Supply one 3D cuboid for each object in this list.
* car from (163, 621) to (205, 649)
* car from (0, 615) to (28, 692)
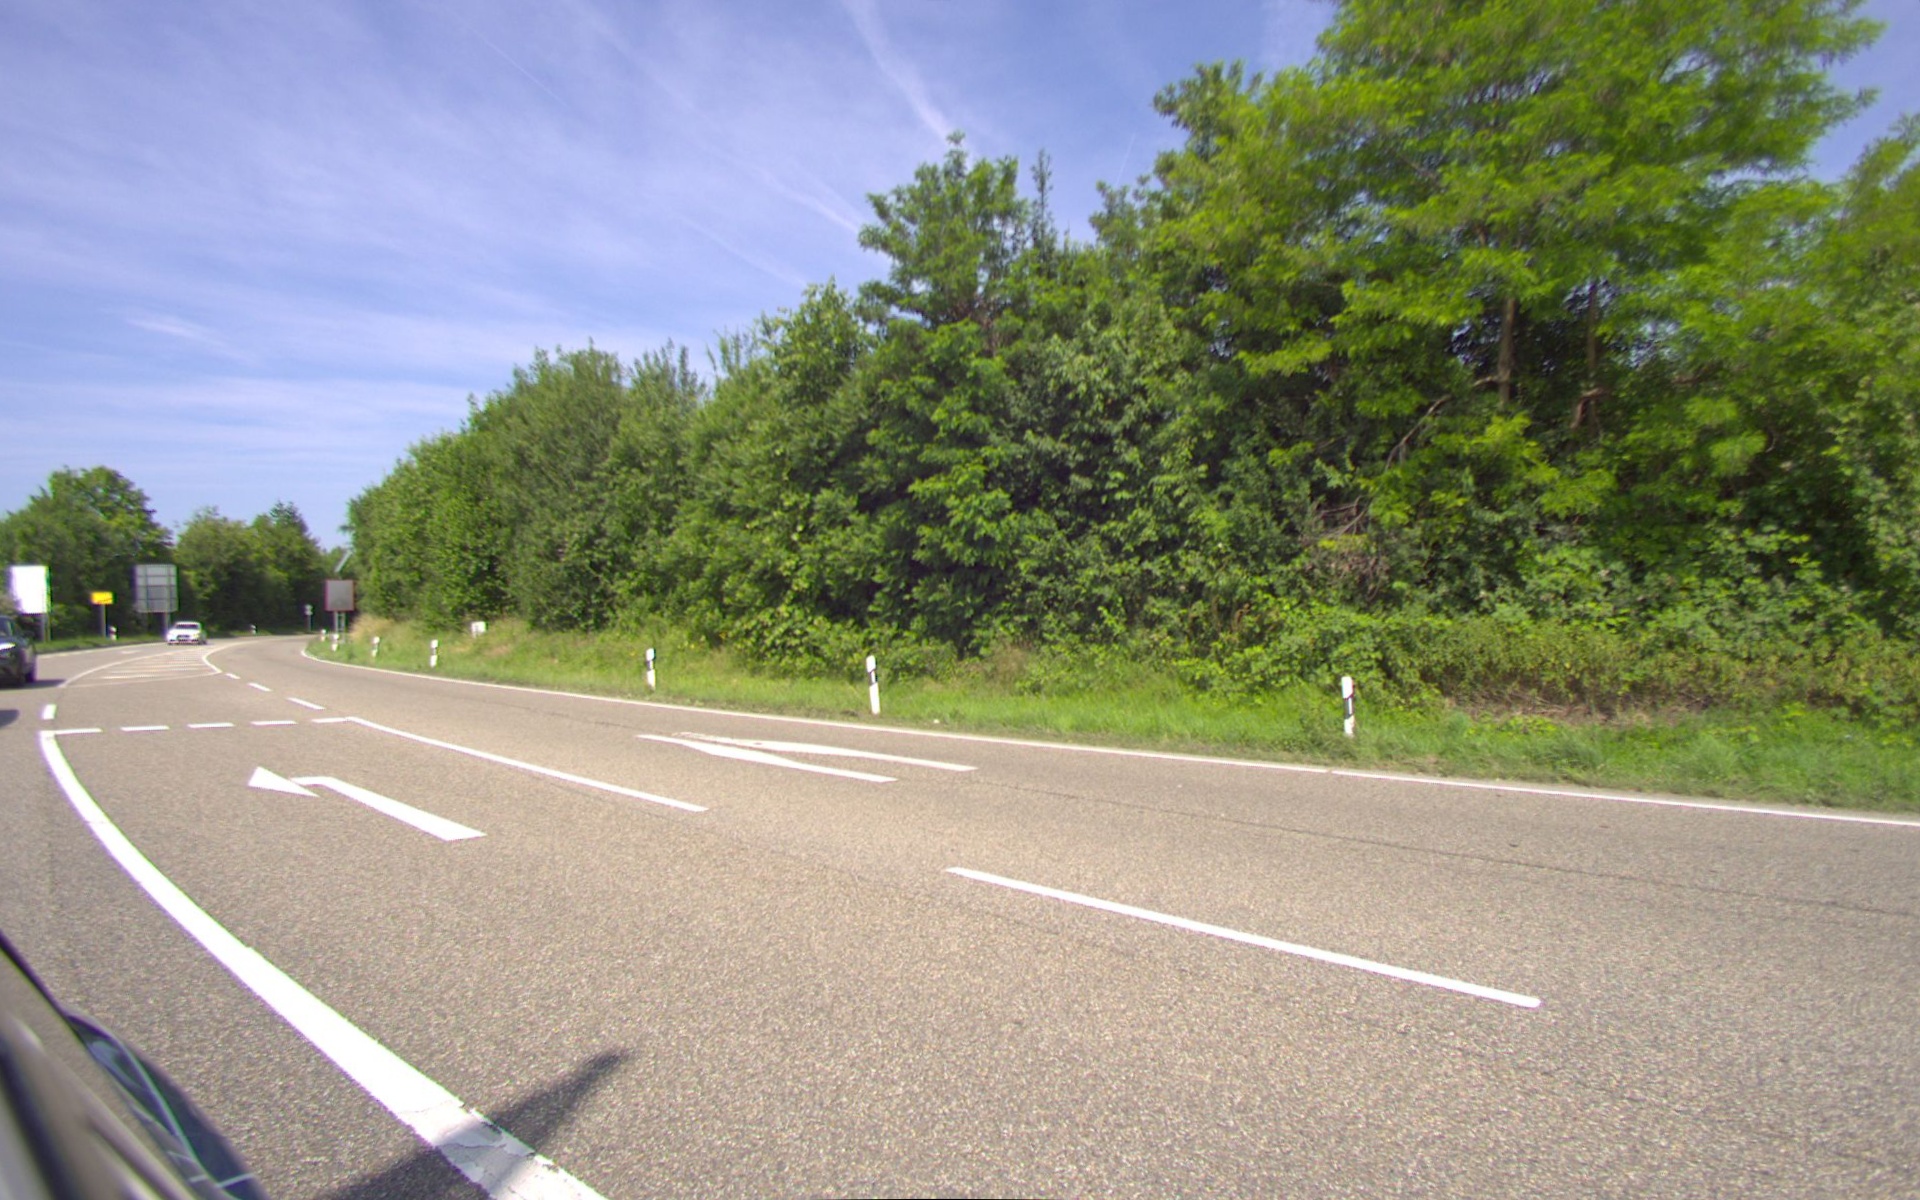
[{"bbox_3d":[-49.334,2.190,64.417,1.838,1.653,4.433,-1,0,-34],"label":"car"},{"bbox_3d":[-21.136,1.133,21.545,1.795,1.553,3.730,-1,-1,-44],"label":"car"}]
